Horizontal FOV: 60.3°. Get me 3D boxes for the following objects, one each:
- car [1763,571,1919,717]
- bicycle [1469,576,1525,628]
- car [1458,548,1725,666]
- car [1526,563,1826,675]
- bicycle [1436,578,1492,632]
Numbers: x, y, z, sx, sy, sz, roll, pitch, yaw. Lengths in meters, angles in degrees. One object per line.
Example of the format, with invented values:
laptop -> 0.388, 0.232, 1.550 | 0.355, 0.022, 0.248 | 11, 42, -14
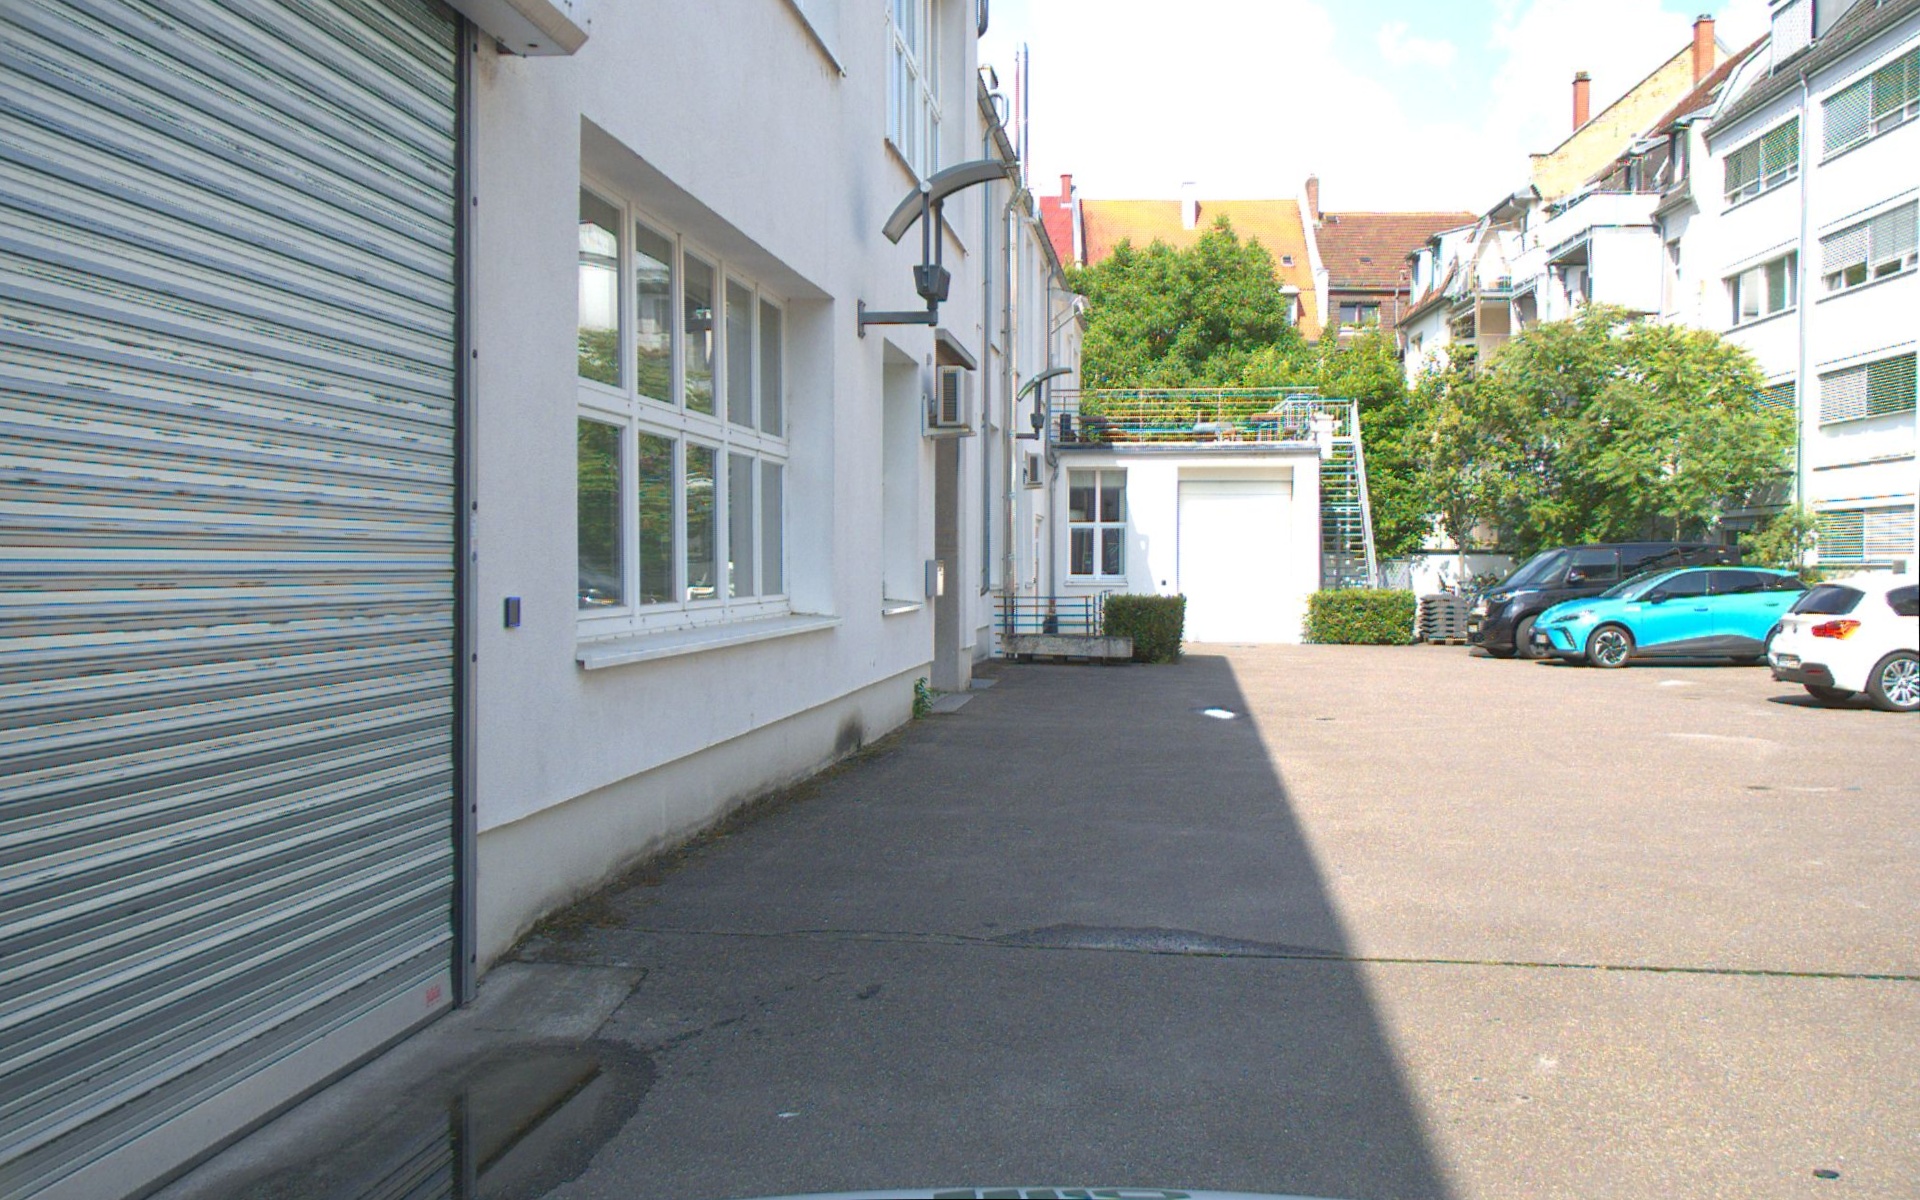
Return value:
car -> 11.026, 0.412, 17.852 | 3.904, 1.470, 1.629 | -1, 1, 2
bicycle -> 12.242, 0.058, 37.727 | 0.628, 1.137, 1.858 | 1, -1, -1
car -> 10.673, 0.124, 28.144 | 3.904, 1.849, 1.664 | 1, -1, 2
car -> 10.931, 0.270, 25.440 | 3.904, 1.601, 1.629 | -1, 1, 2
bicycle -> 11.156, 0.116, 36.653 | 0.628, 1.137, 1.858 | 1, -1, -1
